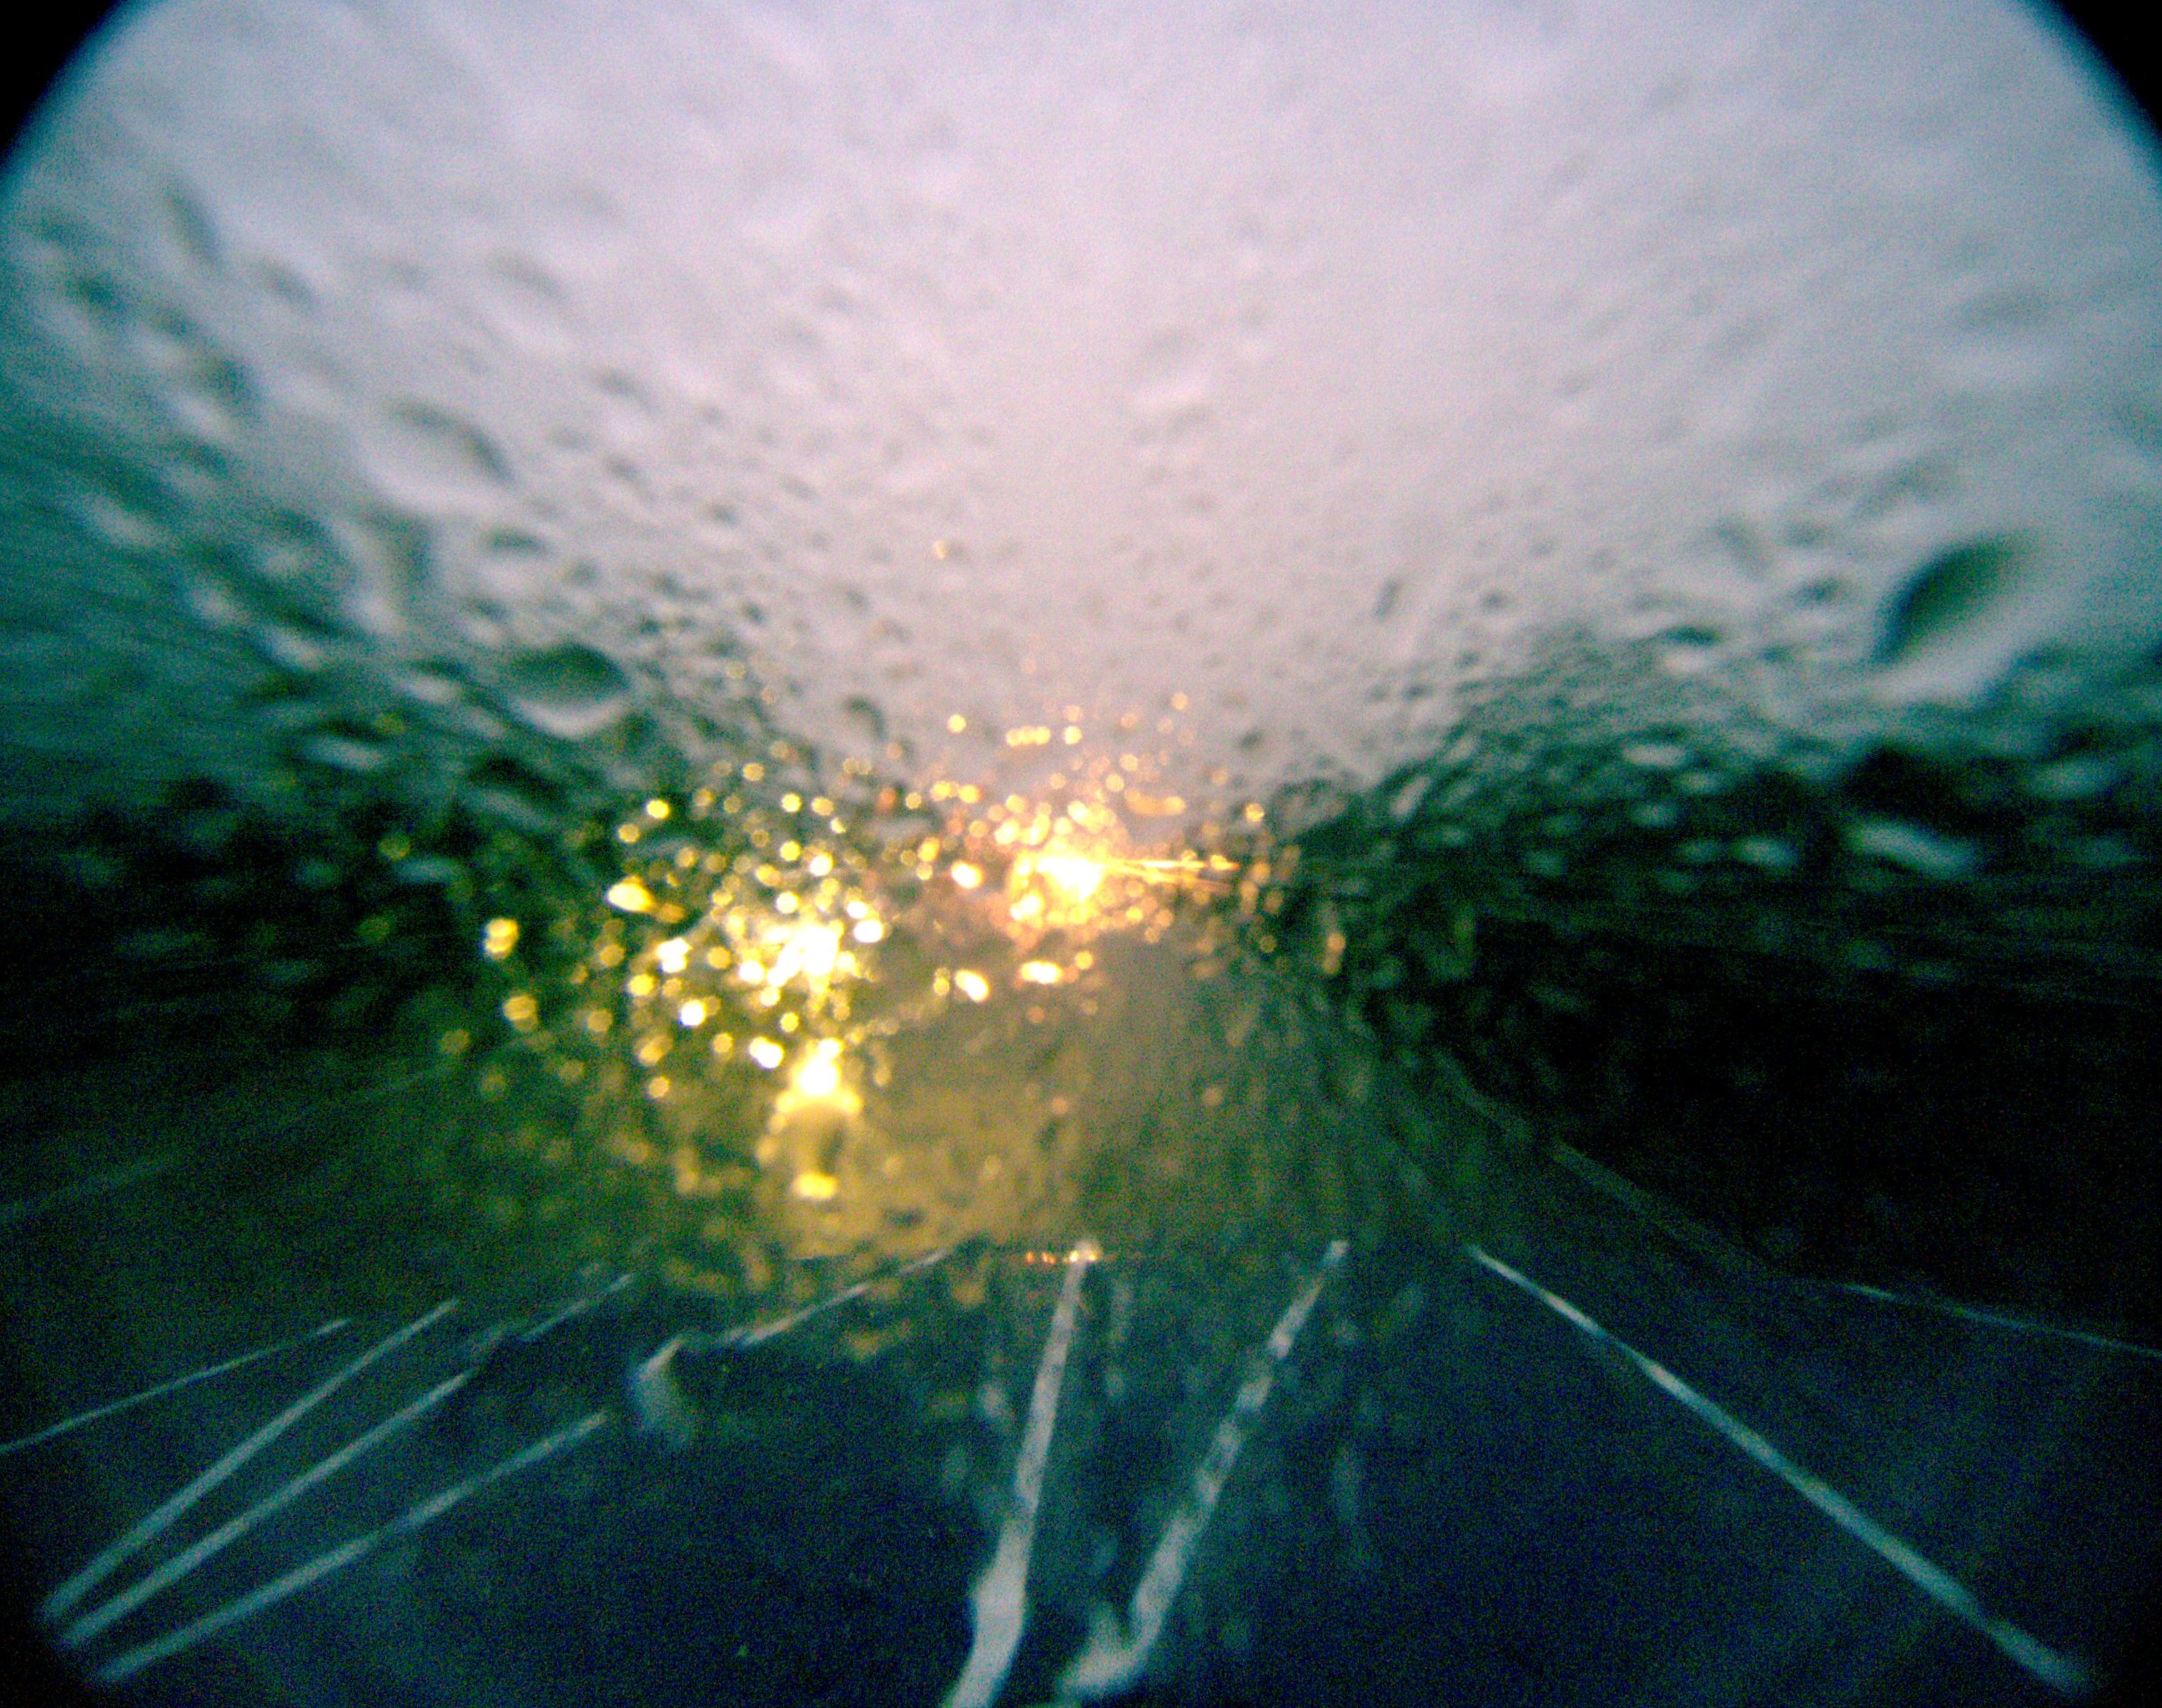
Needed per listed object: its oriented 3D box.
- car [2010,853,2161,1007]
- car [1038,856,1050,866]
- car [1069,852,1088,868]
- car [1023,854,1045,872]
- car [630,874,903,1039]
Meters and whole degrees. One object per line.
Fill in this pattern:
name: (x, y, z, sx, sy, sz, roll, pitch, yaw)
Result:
car: (11.411, 0.745, 6.616, 1.721, 1.415, 4.000, -3, 0, 0)
car: (-5.533, 1.076, 113.701, 1.632, 1.465, 3.999, -1, 0, -2)
car: (-0.225, 0.586, 71.257, 1.632, 1.465, 3.999, -1, 0, -2)
car: (-3.800, 0.723, 61.619, 1.632, 1.465, 3.999, -1, 0, -2)
car: (-3.548, 1.051, 9.453, 1.802, 1.494, 4.000, -2, -1, -2)
